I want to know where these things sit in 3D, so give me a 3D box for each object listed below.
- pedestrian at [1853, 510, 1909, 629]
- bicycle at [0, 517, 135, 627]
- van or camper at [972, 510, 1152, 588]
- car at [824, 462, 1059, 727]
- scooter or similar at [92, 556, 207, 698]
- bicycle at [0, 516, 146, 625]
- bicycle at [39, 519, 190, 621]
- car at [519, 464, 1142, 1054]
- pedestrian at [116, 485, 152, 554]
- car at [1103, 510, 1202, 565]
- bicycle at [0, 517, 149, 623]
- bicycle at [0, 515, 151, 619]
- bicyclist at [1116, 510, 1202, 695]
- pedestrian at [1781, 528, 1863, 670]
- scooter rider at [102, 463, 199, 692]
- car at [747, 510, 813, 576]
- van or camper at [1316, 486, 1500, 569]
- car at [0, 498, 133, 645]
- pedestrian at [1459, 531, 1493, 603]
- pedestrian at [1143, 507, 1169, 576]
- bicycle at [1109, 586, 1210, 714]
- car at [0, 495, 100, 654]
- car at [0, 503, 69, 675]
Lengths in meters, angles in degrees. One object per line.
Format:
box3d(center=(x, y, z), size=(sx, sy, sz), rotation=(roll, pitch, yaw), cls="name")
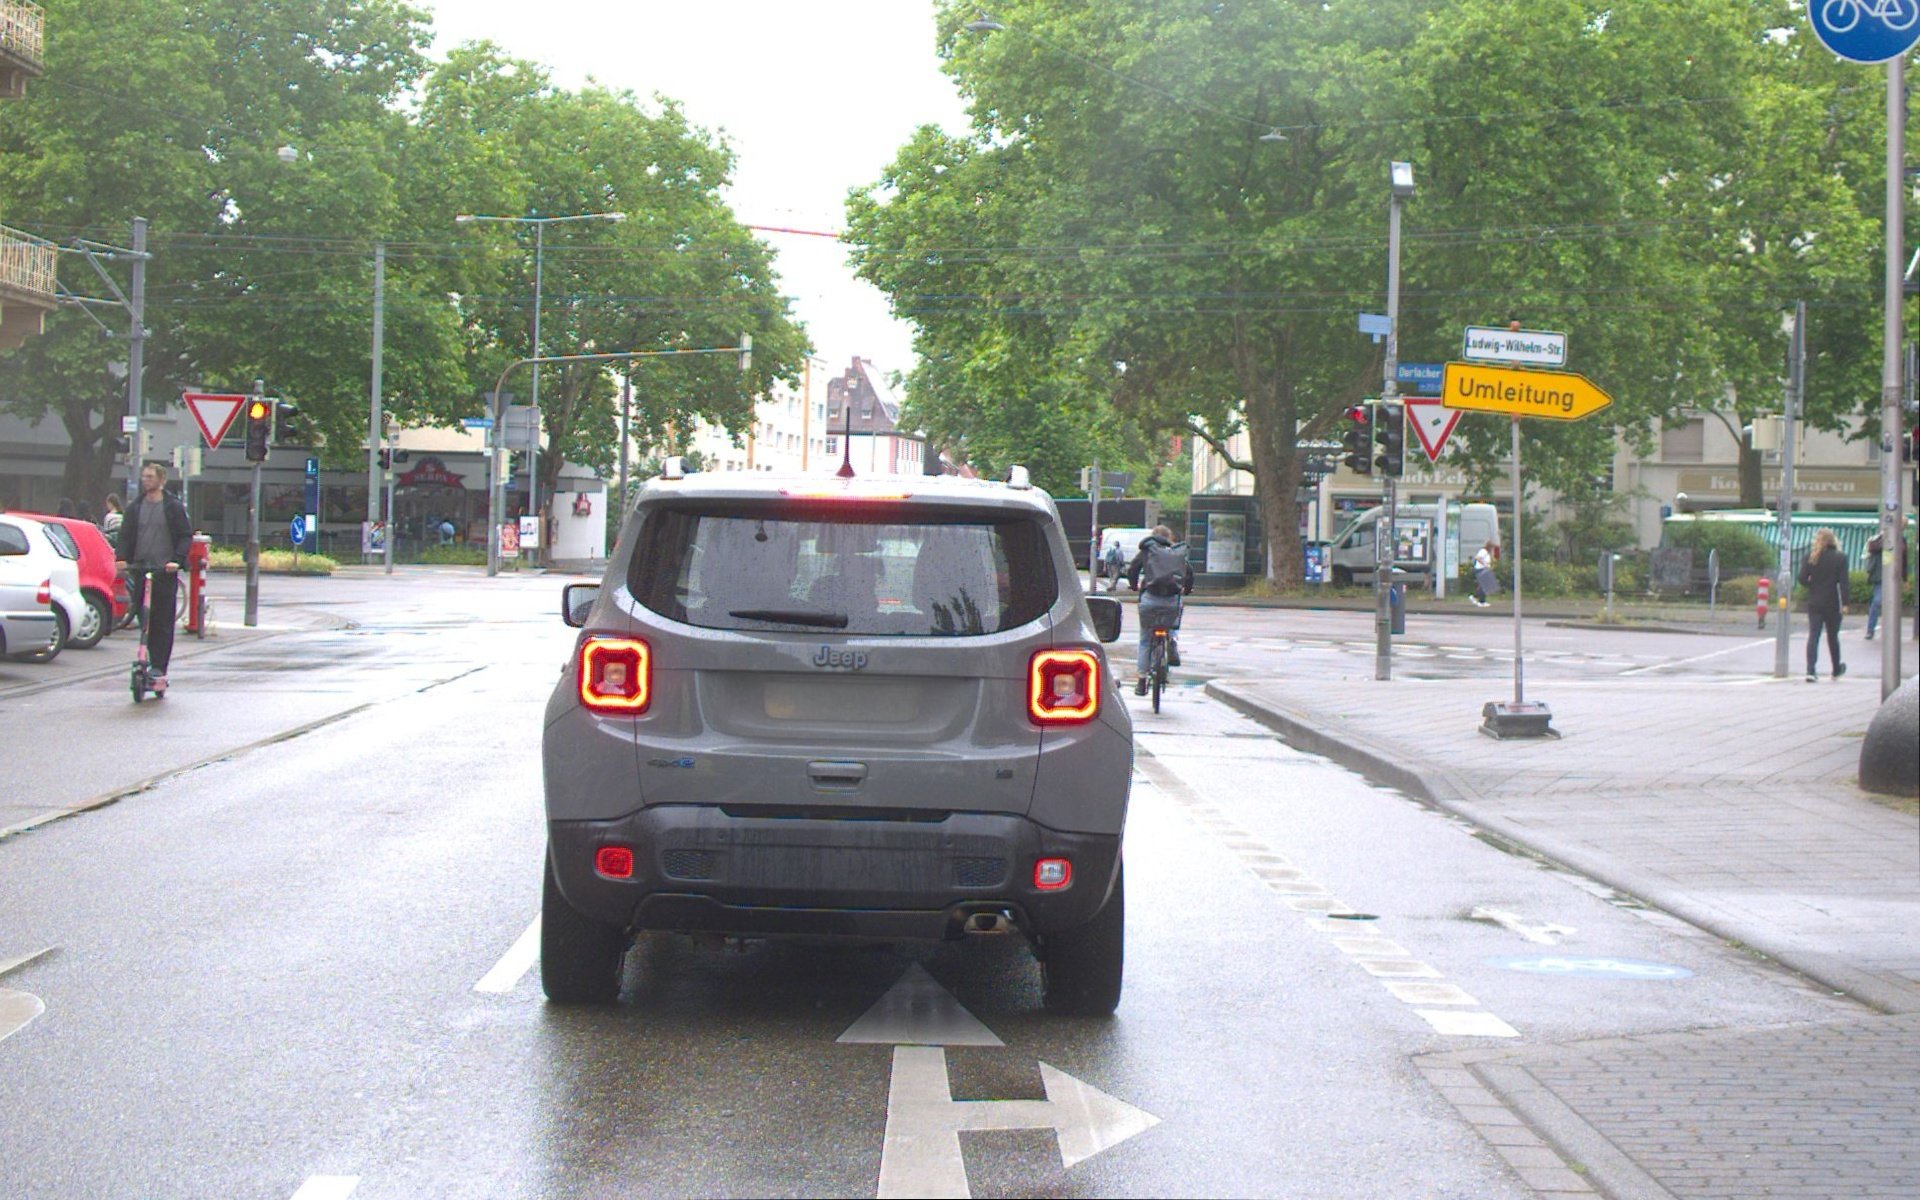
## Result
box3d(center=(13.840, -0.467, 51.664), size=(0.786, 1.753, 0.945), rotation=(1, 1, 15), cls="pedestrian")
box3d(center=(-10.696, -0.335, 40.624), size=(1.763, 1.262, 0.522), rotation=(1, 1, -1), cls="bicycle")
box3d(center=(3.955, -2.010, 133.813), size=(6.536, 2.902, 2.491), rotation=(2, 1, 27), cls="van or camper")
box3d(center=(-0.149, -0.093, 28.561), size=(1.770, 2.007, 4.000), rotation=(1, 1, 0), cls="car")
box3d(center=(-6.920, 0.219, 29.390), size=(0.700, 1.161, 1.385), rotation=(1, 1, -2), cls="scooter or similar")
box3d(center=(-10.713, -0.357, 41.171), size=(1.810, 1.262, 0.498), rotation=(1, 1, -1), cls="bicycle")
box3d(center=(-10.757, -0.385, 43.763), size=(1.763, 1.262, 0.608), rotation=(1, 1, -1), cls="bicycle")
box3d(center=(-0.398, 0.408, 11.754), size=(1.775, 1.681, 3.848), rotation=(0, 1, -1), cls="car")
box3d(center=(-22.192, -2.165, 92.367), size=(0.692, 1.820, 0.620), rotation=(1, 1, 16), cls="pedestrian")
box3d(center=(7.179, -2.309, 127.898), size=(3.438, 2.007, 1.547), rotation=(1, 1, 14), cls="car")
box3d(center=(-10.843, -0.368, 41.856), size=(1.810, 1.262, 0.498), rotation=(1, 1, -1), cls="bicycle")
box3d(center=(-11.046, -0.413, 42.889), size=(1.763, 1.262, 0.608), rotation=(1, 1, -1), cls="bicycle")
box3d(center=(1.752, 0.014, 30.421), size=(0.687, 1.612, 0.884), rotation=(0, 1, -1), cls="bicyclist")
box3d(center=(10.072, -0.021, 40.163), size=(0.784, 1.640, 0.654), rotation=(1, 1, 26), cls="pedestrian")
box3d(center=(-6.917, -0.197, 29.383), size=(0.710, 1.928, 0.504), rotation=(1, 1, -2), cls="scooter rider")
box3d(center=(-4.905, -1.570, 93.390), size=(1.721, 1.733, 3.730), rotation=(1, 1, -4), cls="car")
box3d(center=(13.396, -2.180, 103.078), size=(5.260, 2.307, 2.090), rotation=(2, 2, 4), cls="van or camper")
box3d(center=(-10.813, -0.330, 36.808), size=(3.393, 1.552, 1.705), rotation=(0, 2, -39), cls="car")
box3d(center=(11.637, -0.754, 77.526), size=(0.613, 1.598, 0.493), rotation=(2, 1, 25), cls="pedestrian")
box3d(center=(5.748, -1.712, 101.015), size=(0.651, 2.007, 0.482), rotation=(1, 1, 13), cls="pedestrian")
box3d(center=(1.749, 0.420, 30.500), size=(0.691, 1.018, 2.658), rotation=(0, 1, -1), cls="bicycle")
box3d(center=(-10.448, -0.275, 33.889), size=(3.393, 1.552, 1.705), rotation=(0, 2, -39), cls="car")
box3d(center=(-10.039, -0.128, 31.124), size=(3.393, 1.552, 1.705), rotation=(0, 2, -39), cls="car")
